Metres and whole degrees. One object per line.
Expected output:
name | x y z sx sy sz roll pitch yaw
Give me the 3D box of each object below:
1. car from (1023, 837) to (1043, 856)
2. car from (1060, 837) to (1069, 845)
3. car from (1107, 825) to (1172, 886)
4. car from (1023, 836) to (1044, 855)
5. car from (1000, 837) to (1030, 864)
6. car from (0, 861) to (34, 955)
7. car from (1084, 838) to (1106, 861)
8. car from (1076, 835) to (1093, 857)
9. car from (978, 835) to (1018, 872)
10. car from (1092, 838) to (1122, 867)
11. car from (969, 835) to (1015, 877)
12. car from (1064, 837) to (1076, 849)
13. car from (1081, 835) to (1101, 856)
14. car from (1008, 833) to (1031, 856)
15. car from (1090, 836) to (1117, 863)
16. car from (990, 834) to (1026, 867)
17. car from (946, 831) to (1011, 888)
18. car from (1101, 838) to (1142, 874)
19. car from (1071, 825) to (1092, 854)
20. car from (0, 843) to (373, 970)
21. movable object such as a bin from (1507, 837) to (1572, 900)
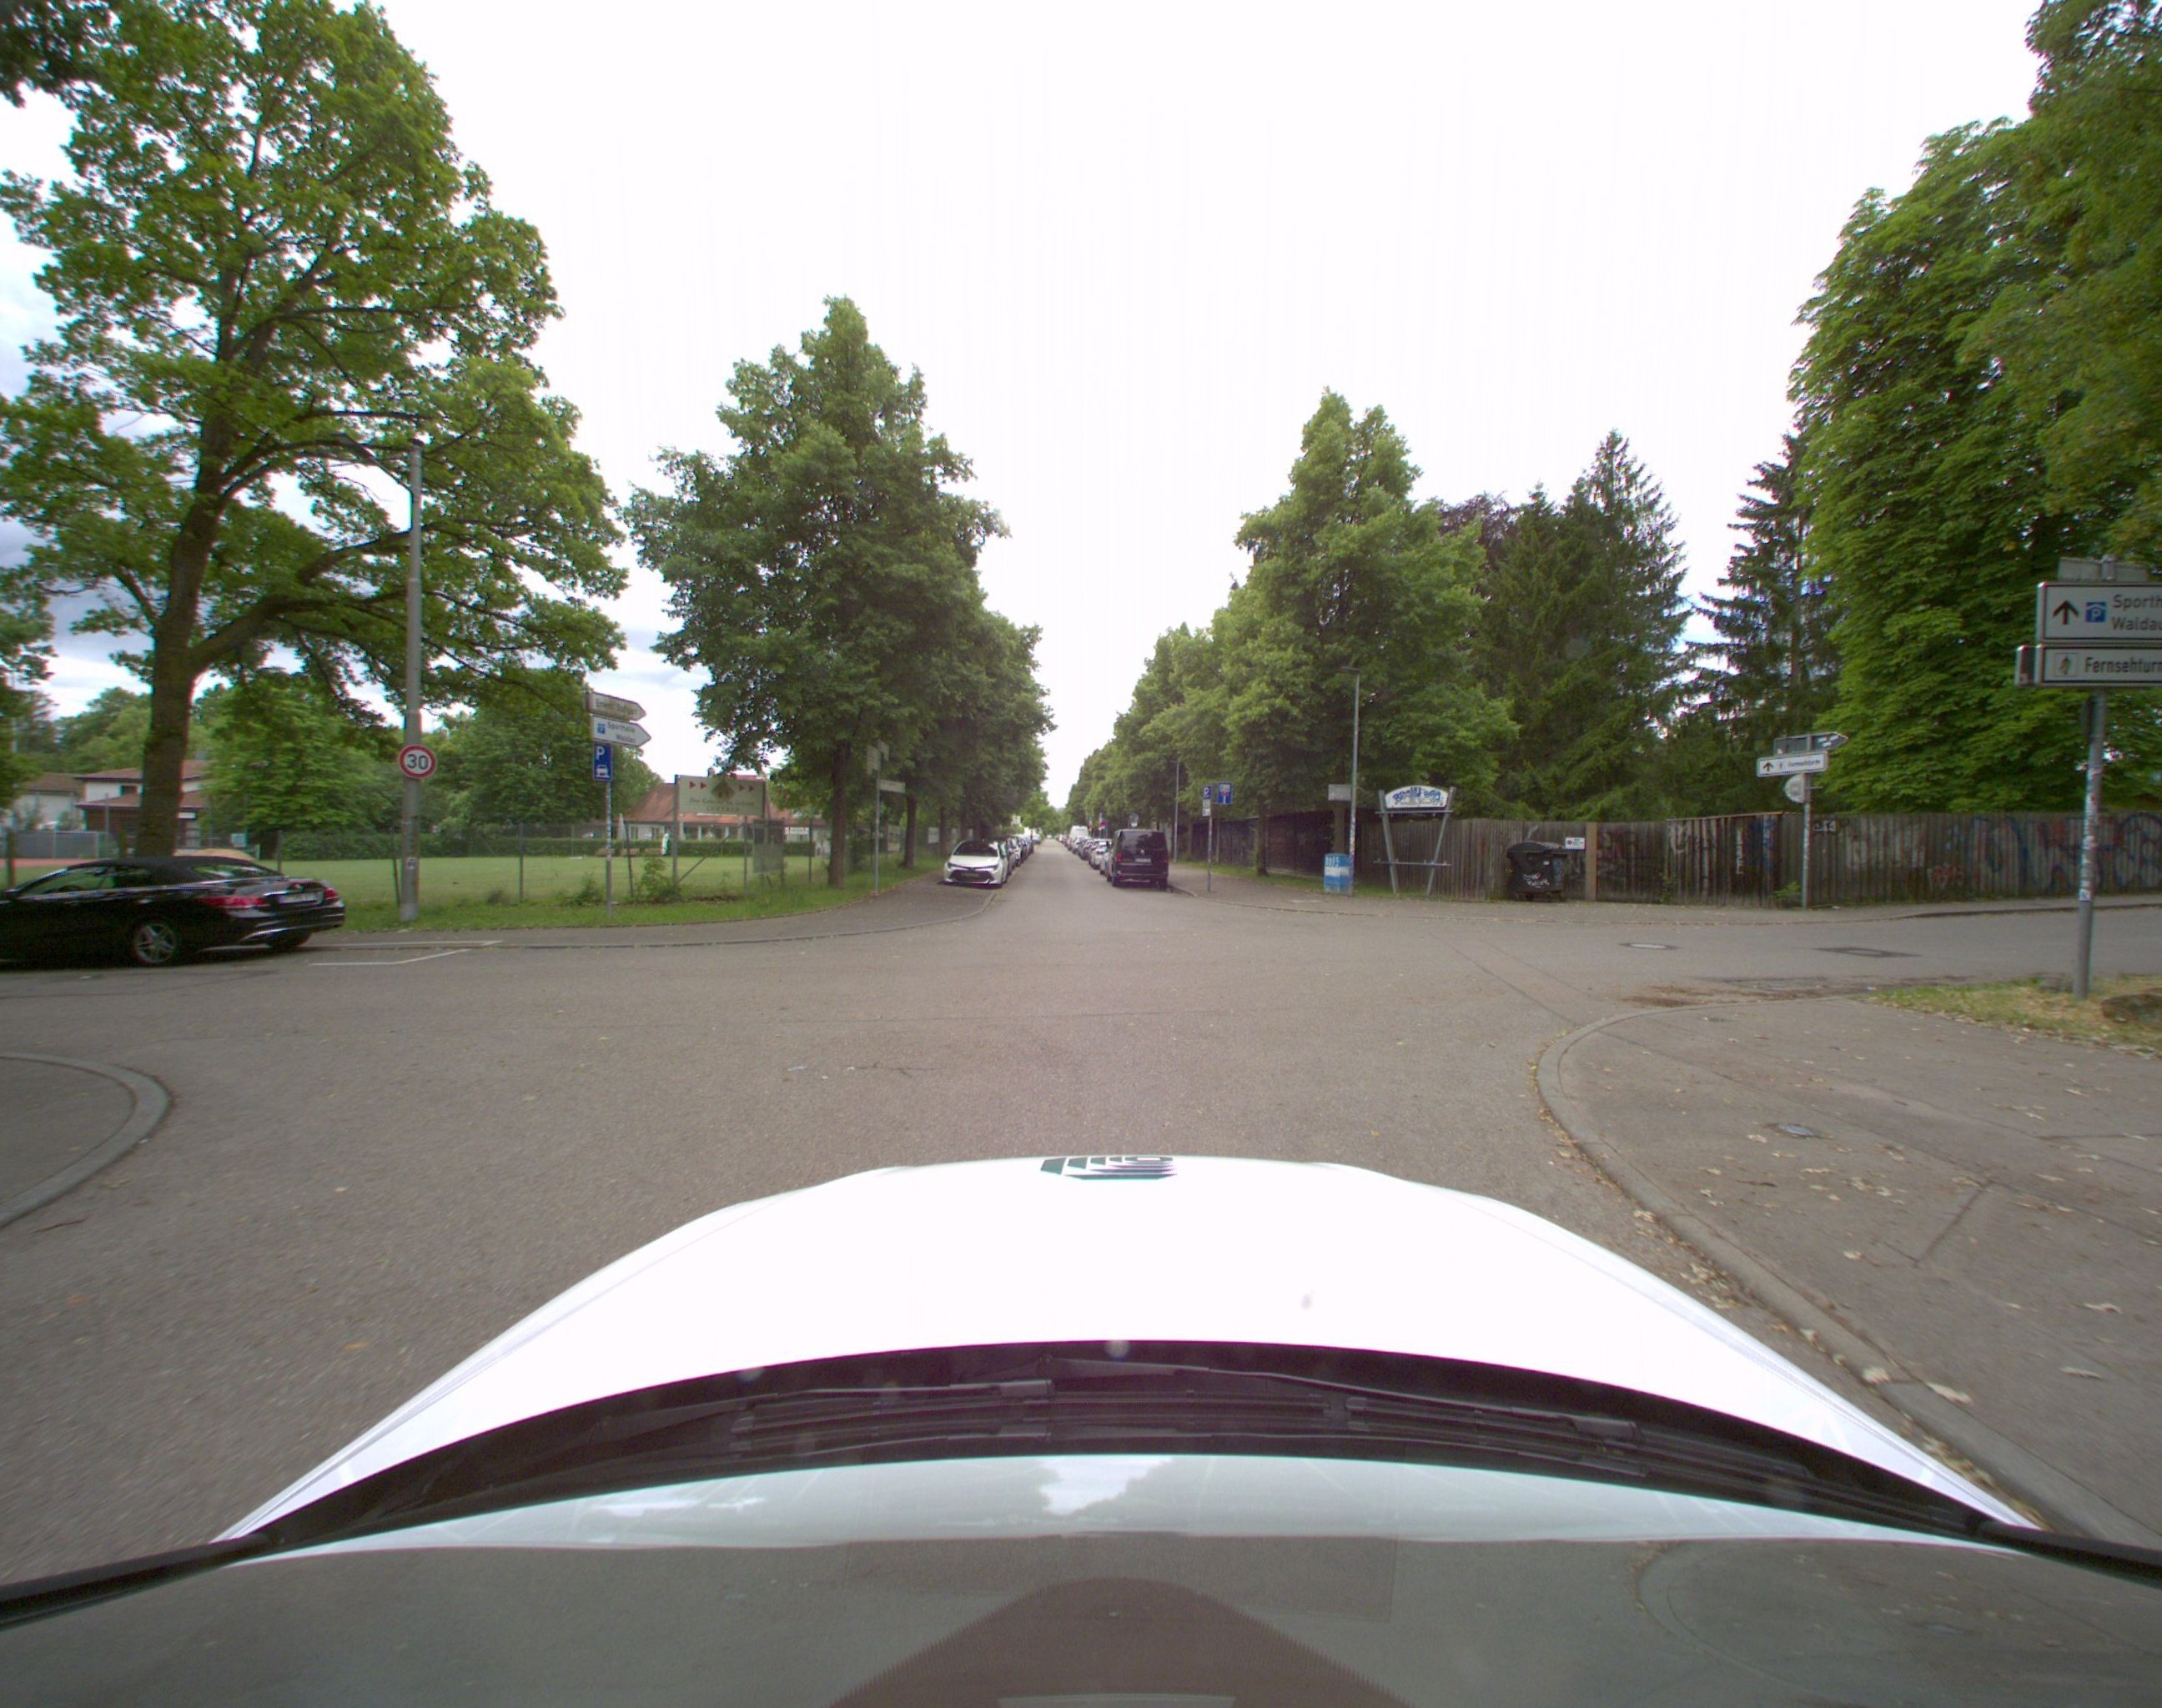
car | -4.136 -0.668 69.970 1.590 1.559 3.190 -1 1 -4
car | -3.596 -2.823 179.932 1.891 1.706 4.065 0 0 2
car | 1.982 0.013 28.841 1.982 2.013 4.107 0 1 -1
car | -3.722 -0.686 64.453 1.465 1.481 3.188 0 1 -1
car | -3.868 -0.234 48.084 1.590 1.457 3.190 3 1 -4
car | -17.903 0.874 11.317 4.197 1.359 1.690 -2 2 -3
car | 0.965 -0.313 56.823 1.465 1.531 3.188 0 1 -1
car | 0.280 -0.712 72.874 1.465 1.967 3.188 0 1 -1
car | -3.895 -0.073 38.671 1.688 1.596 3.994 3 1 -4
car | 1.328 -0.088 42.950 1.465 1.481 3.188 0 1 -1
car | -3.377 0.052 31.440 1.543 1.455 3.660 3 1 -4
car | -1.893 -2.006 146.946 1.986 2.013 4.002 0 0 2
car | 0.743 -0.675 62.647 1.465 1.531 3.188 0 1 -1
car | -4.483 -0.714 59.379 1.590 1.559 3.190 3 1 -4
car | 1.312 -0.268 48.046 1.465 1.531 3.188 0 1 -1
car | -3.848 -0.197 43.405 1.688 1.596 3.994 3 1 -4
car | -3.195 0.137 26.084 1.762 1.596 4.210 3 1 -4
car | 1.718 0.052 35.375 1.592 1.481 3.520 0 1 -1
car | 0.026 -1.505 86.388 2.177 3.015 4.896 0 1 -1
car | -12.902 0.685 11.416 4.298 1.494 1.772 -2 2 0
movable object such as a bin | 11.021 0.329 19.566 1.065 1.442 1.293 0 0 44
